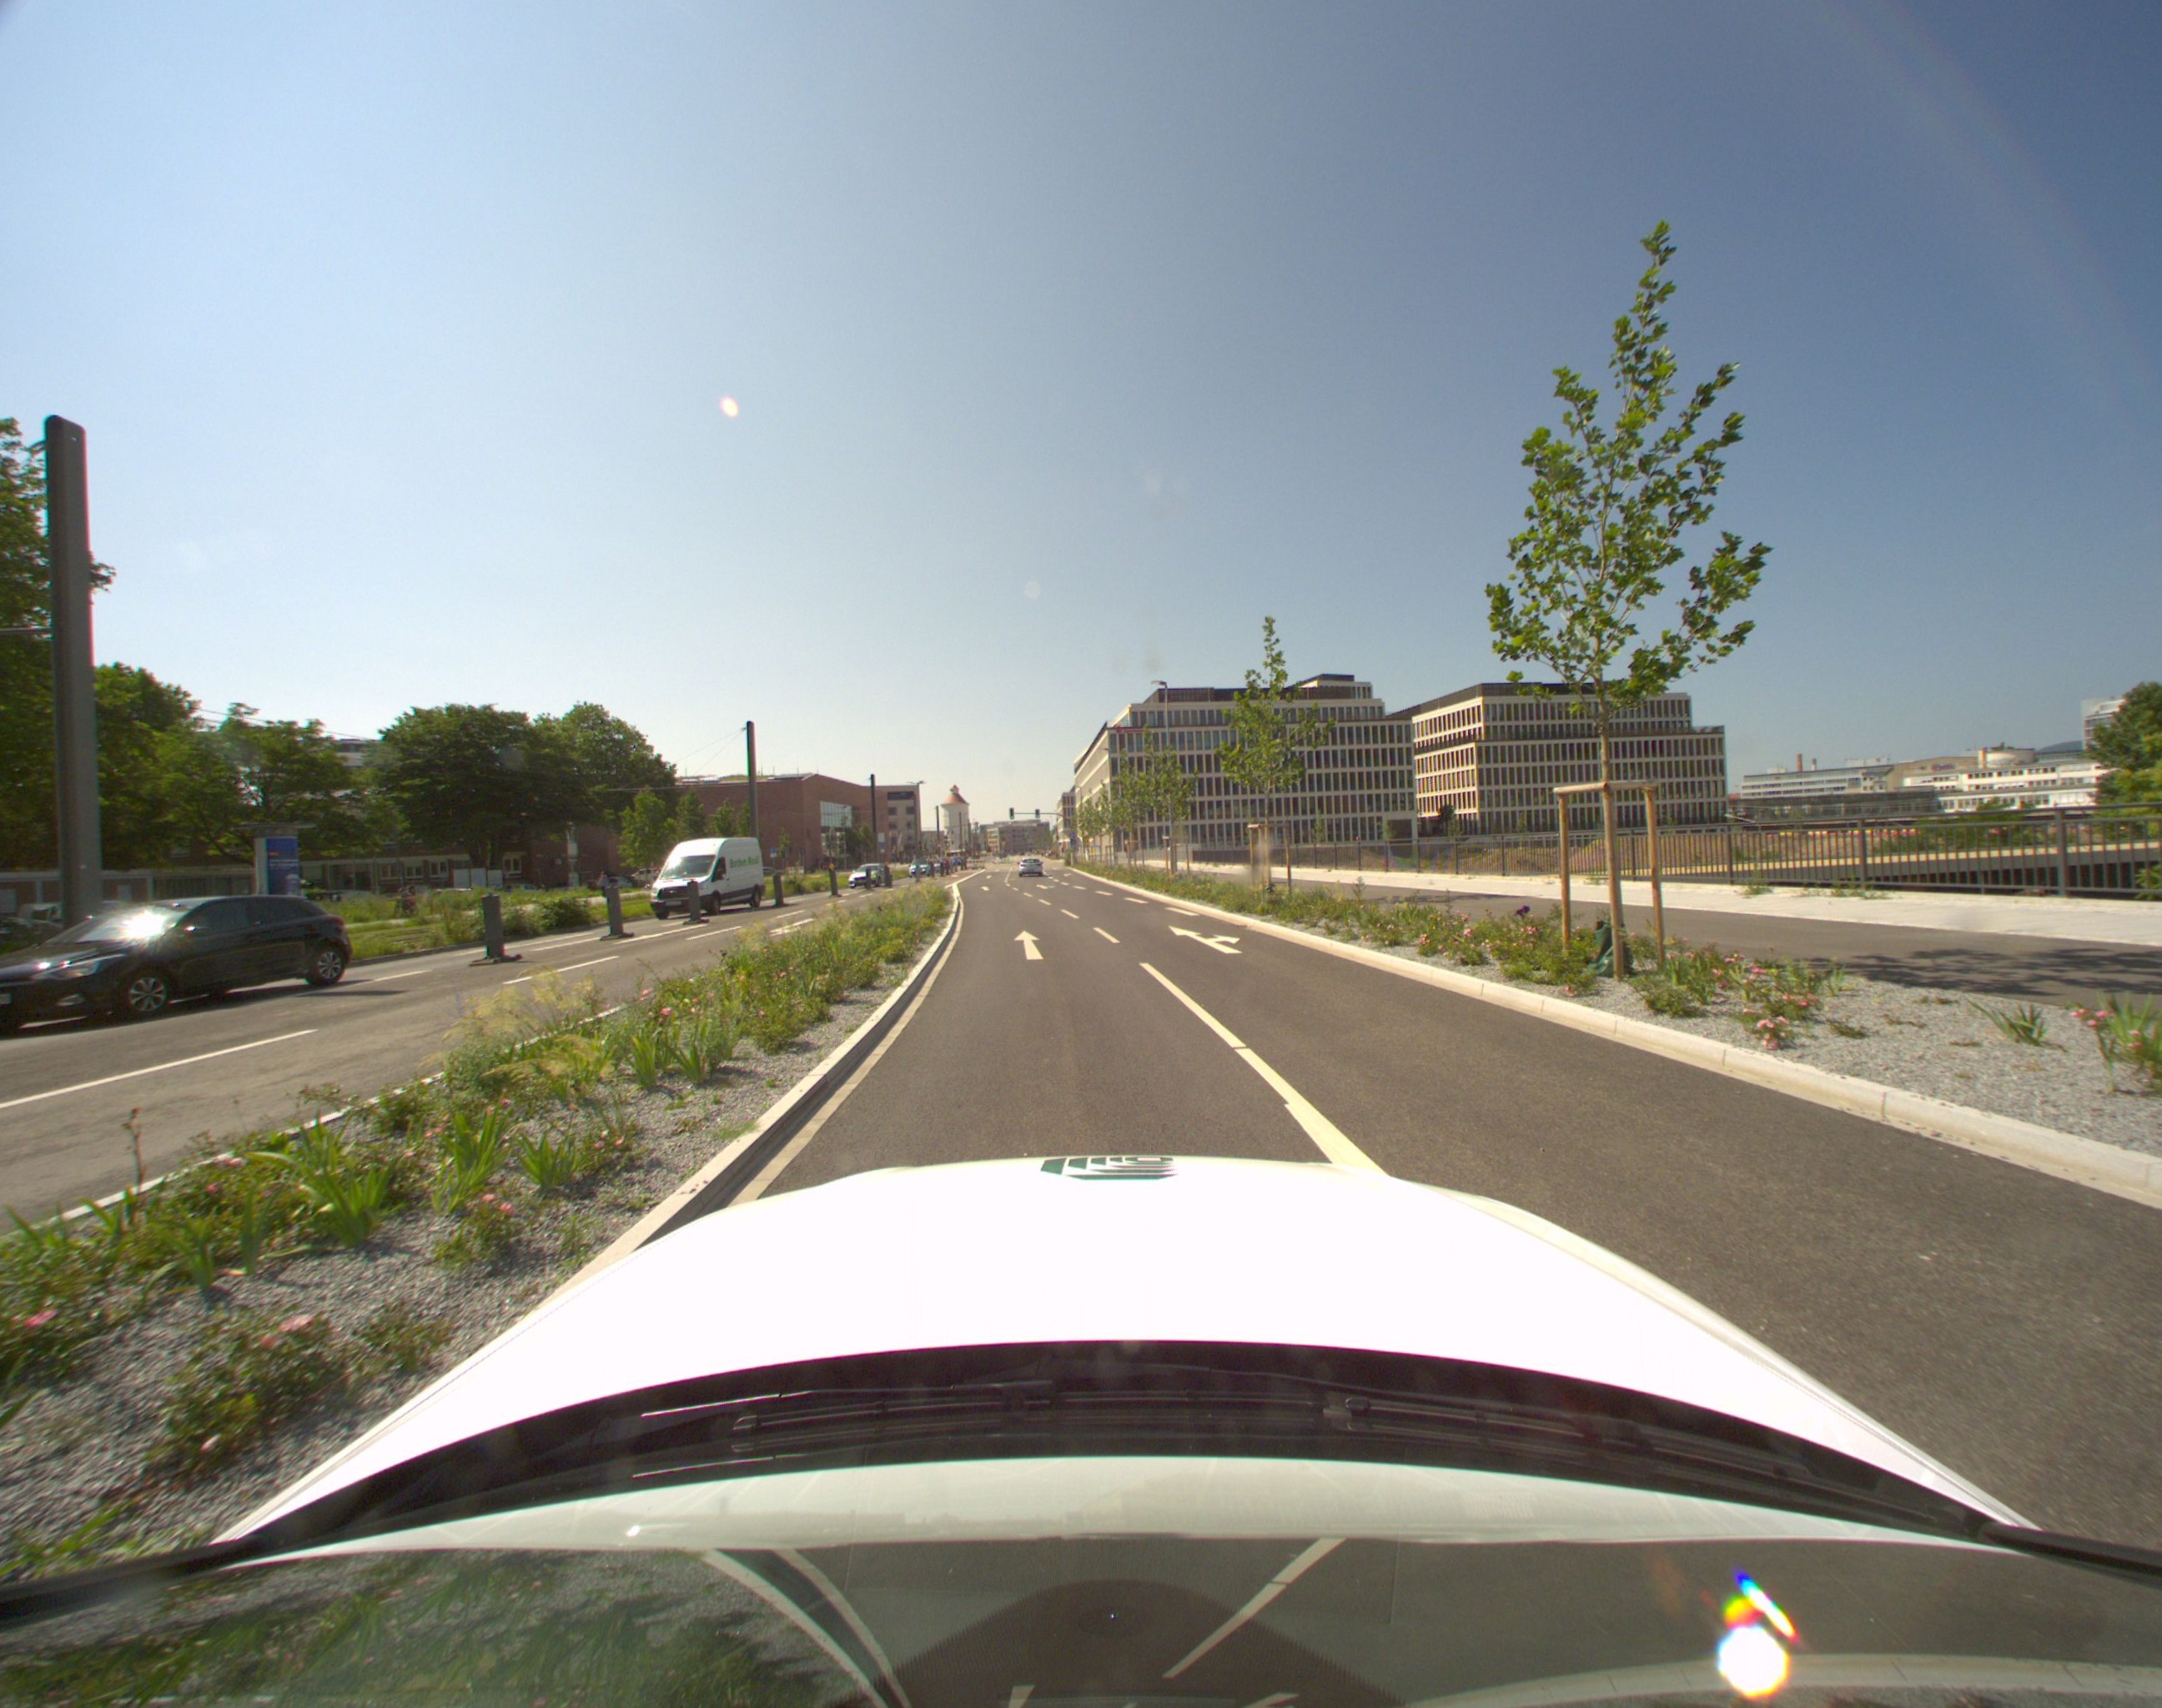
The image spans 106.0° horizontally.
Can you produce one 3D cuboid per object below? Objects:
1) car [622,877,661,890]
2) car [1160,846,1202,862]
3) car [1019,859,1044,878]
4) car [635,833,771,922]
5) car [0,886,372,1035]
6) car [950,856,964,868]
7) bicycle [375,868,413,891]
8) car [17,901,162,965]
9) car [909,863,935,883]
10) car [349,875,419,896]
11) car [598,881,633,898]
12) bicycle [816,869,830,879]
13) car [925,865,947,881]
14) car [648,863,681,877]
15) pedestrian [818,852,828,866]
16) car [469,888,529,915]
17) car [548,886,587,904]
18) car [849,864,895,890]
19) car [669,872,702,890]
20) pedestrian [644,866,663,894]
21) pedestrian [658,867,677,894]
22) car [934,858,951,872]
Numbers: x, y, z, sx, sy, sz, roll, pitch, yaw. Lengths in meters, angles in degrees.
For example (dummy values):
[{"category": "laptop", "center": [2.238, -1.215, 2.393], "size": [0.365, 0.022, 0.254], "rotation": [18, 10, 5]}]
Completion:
[{"category": "car", "center": [-56.493, 3.776, 104.714], "size": [3.973, 1.403, 2.000], "rotation": [-2, -1, 1]}, {"category": "car", "center": [14.694, 0.053, 119.598], "size": [5.826, 2.270, 2.143], "rotation": [0, 0, -5]}, {"category": "car", "center": [-3.727, 1.113, 62.060], "size": [1.767, 1.395, 3.528], "rotation": [-1, -1, -2]}, {"category": "car", "center": [-13.509, 0.778, 29.645], "size": [2.071, 2.740, 5.983], "rotation": [-4, 0, -1]}, {"category": "car", "center": [-12.241, 1.298, 11.105], "size": [1.542, 1.457, 4.187], "rotation": [-5, 0, -4]}, {"category": "car", "center": [-16.939, 1.054, 111.199], "size": [1.626, 1.427, 4.282], "rotation": [-4, 0, -5]}, {"category": "bicycle", "center": [-32.037, 1.183, 38.006], "size": [0.459, 0.986, 1.557], "rotation": [0, 0, -1]}, {"category": "car", "center": [-38.342, 3.018, 31.501], "size": [5.015, 2.179, 2.125], "rotation": [-2, 0, 22]}, {"category": "car", "center": [-13.540, 1.639, 69.579], "size": [1.576, 1.530, 3.617], "rotation": [-5, 0, -3]}, {"category": "car", "center": [-53.281, 2.393, 62.347], "size": [3.754, 1.457, 1.532], "rotation": [0, -2, -22]}, {"category": "car", "center": [-47.516, 3.582, 83.139], "size": [1.535, 1.457, 3.782], "rotation": [-2, 0, -4]}, {"category": "bicycle", "center": [-39.412, 3.100, 124.330], "size": [2.055, 1.453, 0.537], "rotation": [-2, 0, -15]}, {"category": "car", "center": [-14.334, 1.898, 80.766], "size": [1.577, 1.416, 4.290], "rotation": [-3, 0, -4]}, {"category": "car", "center": [-57.387, 2.203, 112.214], "size": [3.536, 1.689, 1.691], "rotation": [-2, 0, -4]}, {"category": "pedestrian", "center": [-33.870, 0.692, 106.914], "size": [0.808, 1.847, 1.108], "rotation": [-2, 0, 2]}, {"category": "car", "center": [-38.354, 3.109, 53.762], "size": [1.767, 1.591, 3.626], "rotation": [-1, 0, -9]}, {"category": "car", "center": [-46.137, 3.663, 73.263], "size": [1.537, 1.457, 3.777], "rotation": [-2, 0, -8]}, {"category": "car", "center": [-12.993, 1.407, 50.910], "size": [1.668, 1.443, 4.467], "rotation": [-4, 0, -1]}, {"category": "car", "center": [-41.542, 2.848, 85.648], "size": [1.695, 1.761, 3.934], "rotation": [-2, -1, -4]}, {"category": "pedestrian", "center": [-32.070, 1.960, 61.112], "size": [0.837, 2.013, 0.983], "rotation": [-2, 0, -2]}, {"category": "pedestrian", "center": [-31.014, 1.966, 61.096], "size": [0.980, 2.013, 0.909], "rotation": [-1, 0, -2]}, {"category": "car", "center": [-15.753, 1.223, 92.741], "size": [1.577, 1.416, 3.992], "rotation": [-3, 0, -5]}]
